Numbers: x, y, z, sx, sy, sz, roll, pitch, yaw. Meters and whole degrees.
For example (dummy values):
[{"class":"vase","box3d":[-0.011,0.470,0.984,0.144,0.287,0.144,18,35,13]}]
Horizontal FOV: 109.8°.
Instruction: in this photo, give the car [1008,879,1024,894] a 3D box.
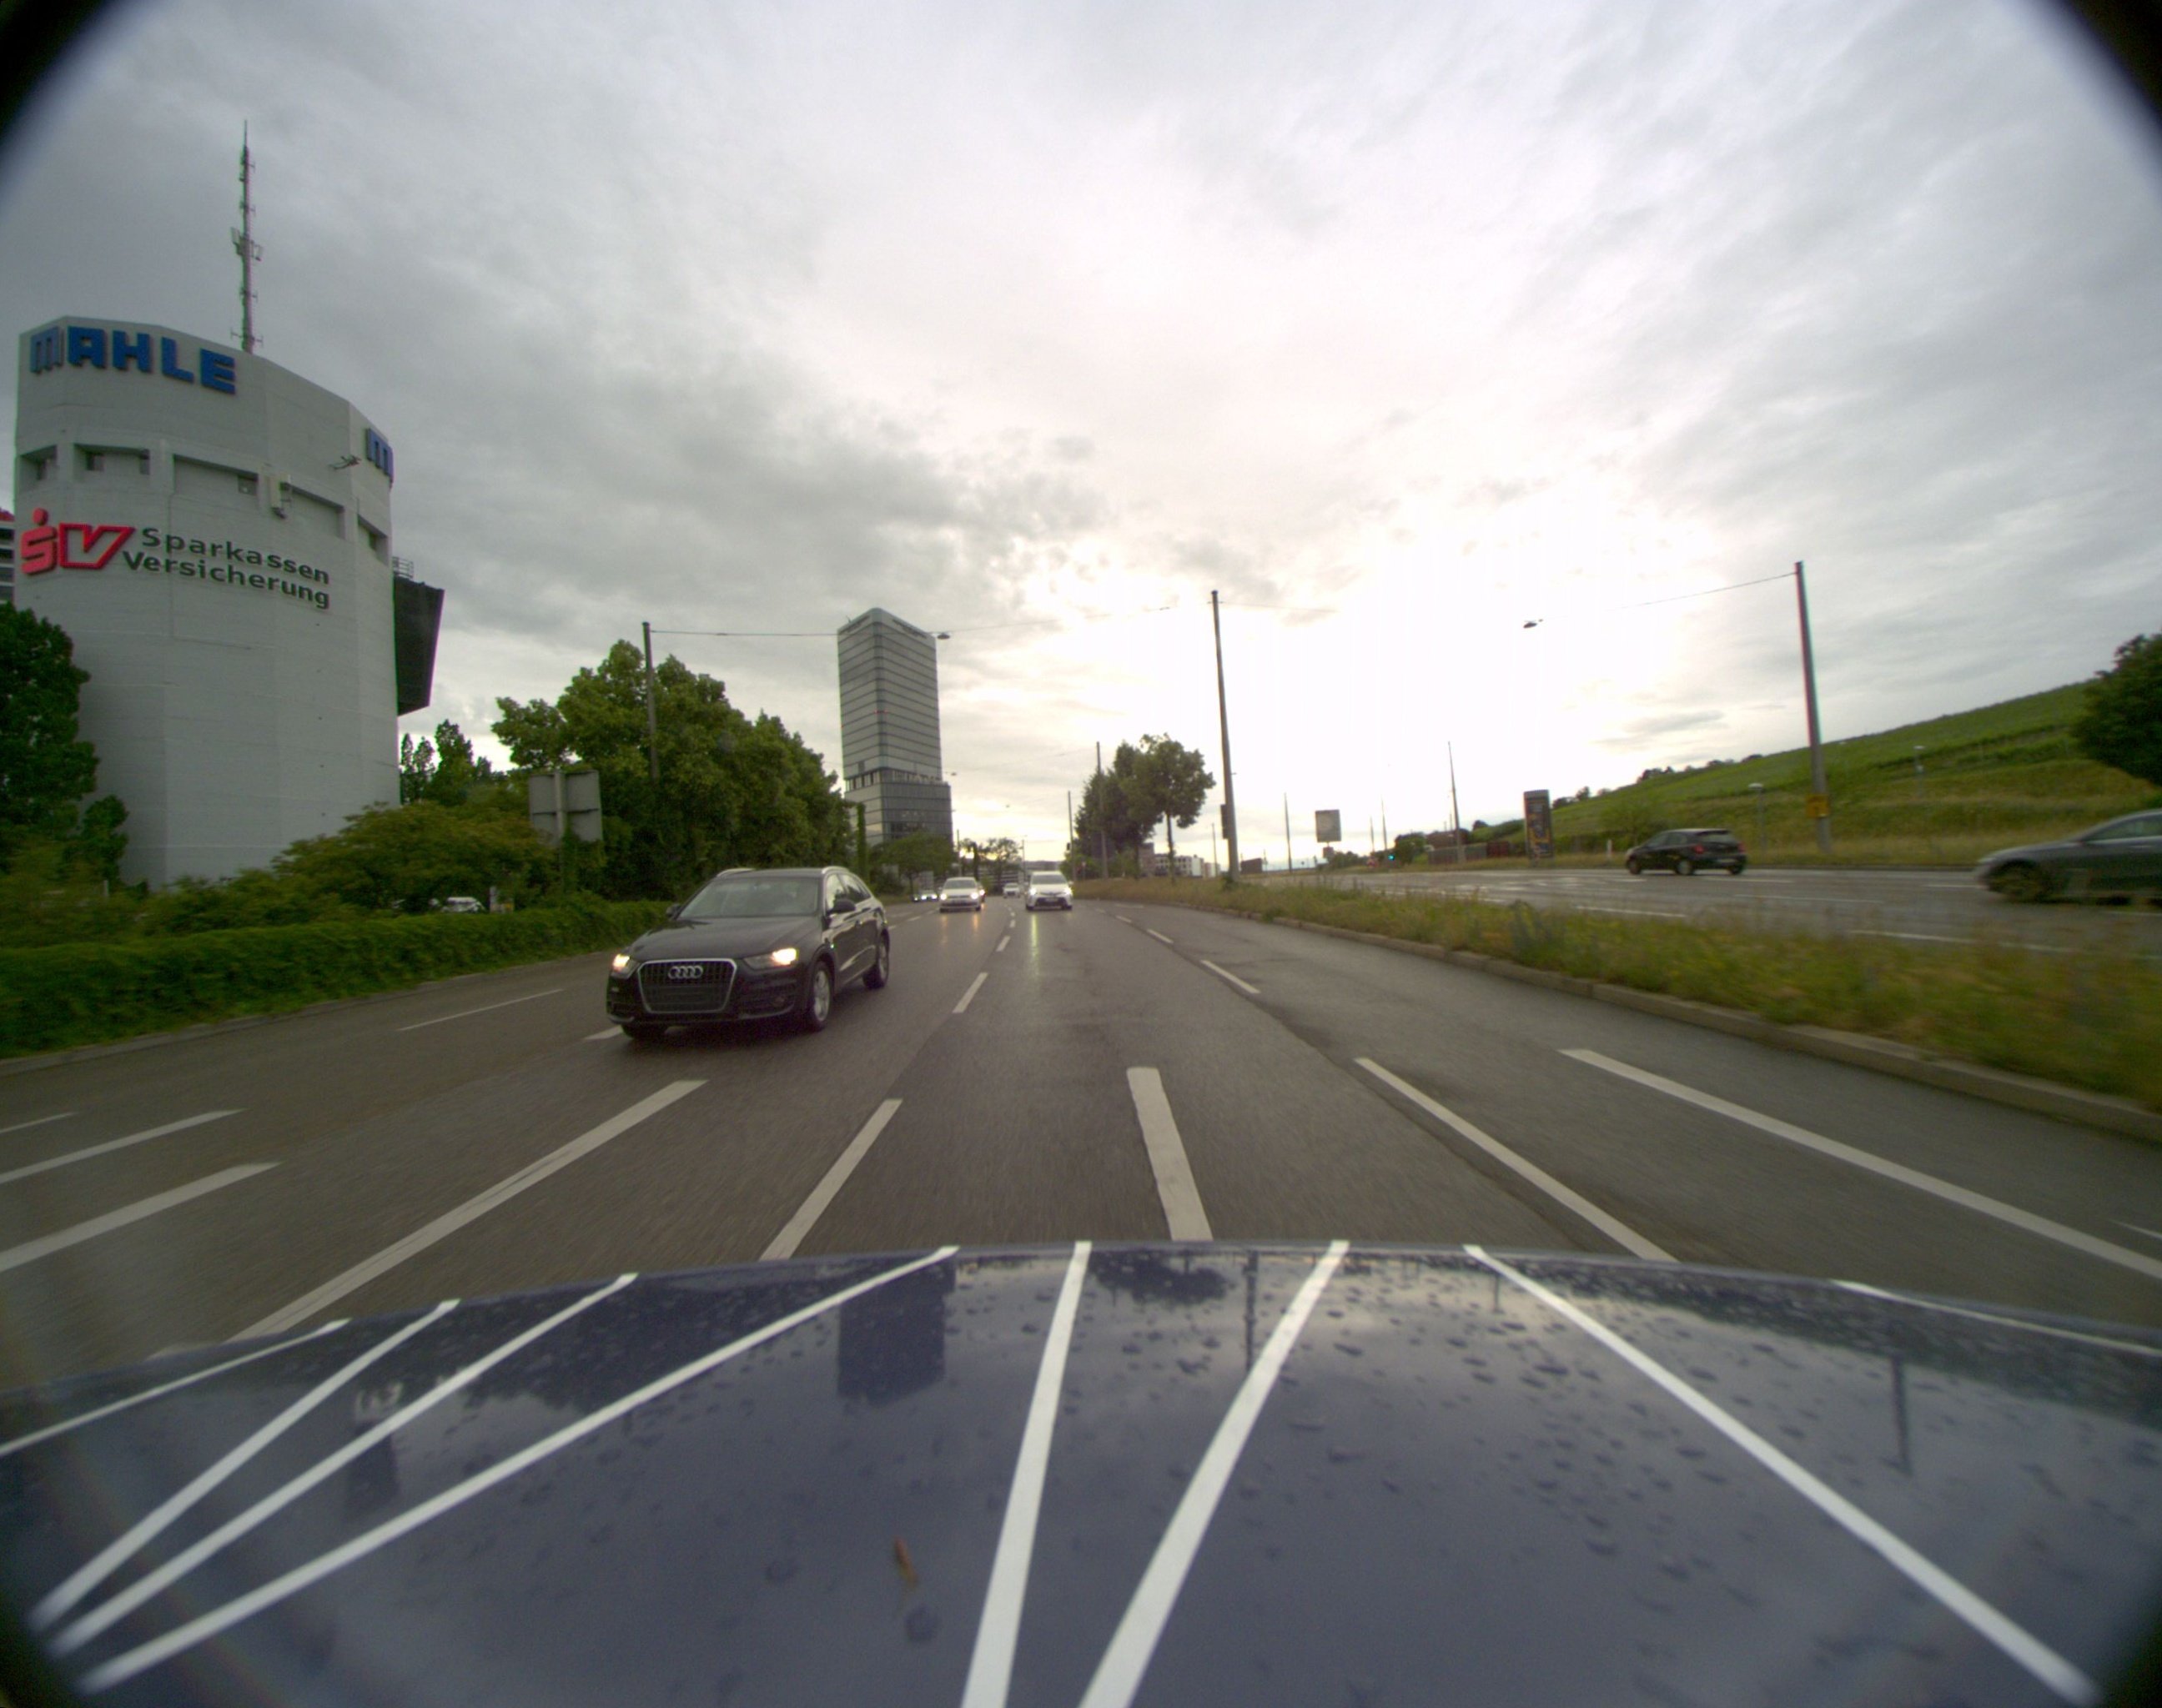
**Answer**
[{"class":"car","box3d":[-6.767,3.401,79.096,1.543,1.421,3.807,-3,-2,-5]}]

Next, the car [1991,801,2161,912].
[{"class":"car","box3d":[15.761,0.003,10.432,1.771,1.509,4.000,-3,0,2]}]

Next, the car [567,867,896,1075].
[{"class":"car","box3d":[-3.375,0.998,8.321,1.730,1.525,4.125,-4,0,-2]}]

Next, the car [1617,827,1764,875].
[{"class":"car","box3d":[20.217,-0.135,25.434,1.771,1.376,3.999,-3,2,2]}]

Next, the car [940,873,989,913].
[{"class":"car","box3d":[-4.963,1.650,32.930,1.730,1.463,4.263,-4,-2,-5]}]

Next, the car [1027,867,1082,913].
[{"class":"car","box3d":[-1.023,1.430,31.618,1.826,1.574,4.298,-3,1,3]}]

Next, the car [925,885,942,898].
[{"class":"car","box3d":[-17.574,4.428,90.695,1.636,1.467,3.675,-3,-2,-8]}]
